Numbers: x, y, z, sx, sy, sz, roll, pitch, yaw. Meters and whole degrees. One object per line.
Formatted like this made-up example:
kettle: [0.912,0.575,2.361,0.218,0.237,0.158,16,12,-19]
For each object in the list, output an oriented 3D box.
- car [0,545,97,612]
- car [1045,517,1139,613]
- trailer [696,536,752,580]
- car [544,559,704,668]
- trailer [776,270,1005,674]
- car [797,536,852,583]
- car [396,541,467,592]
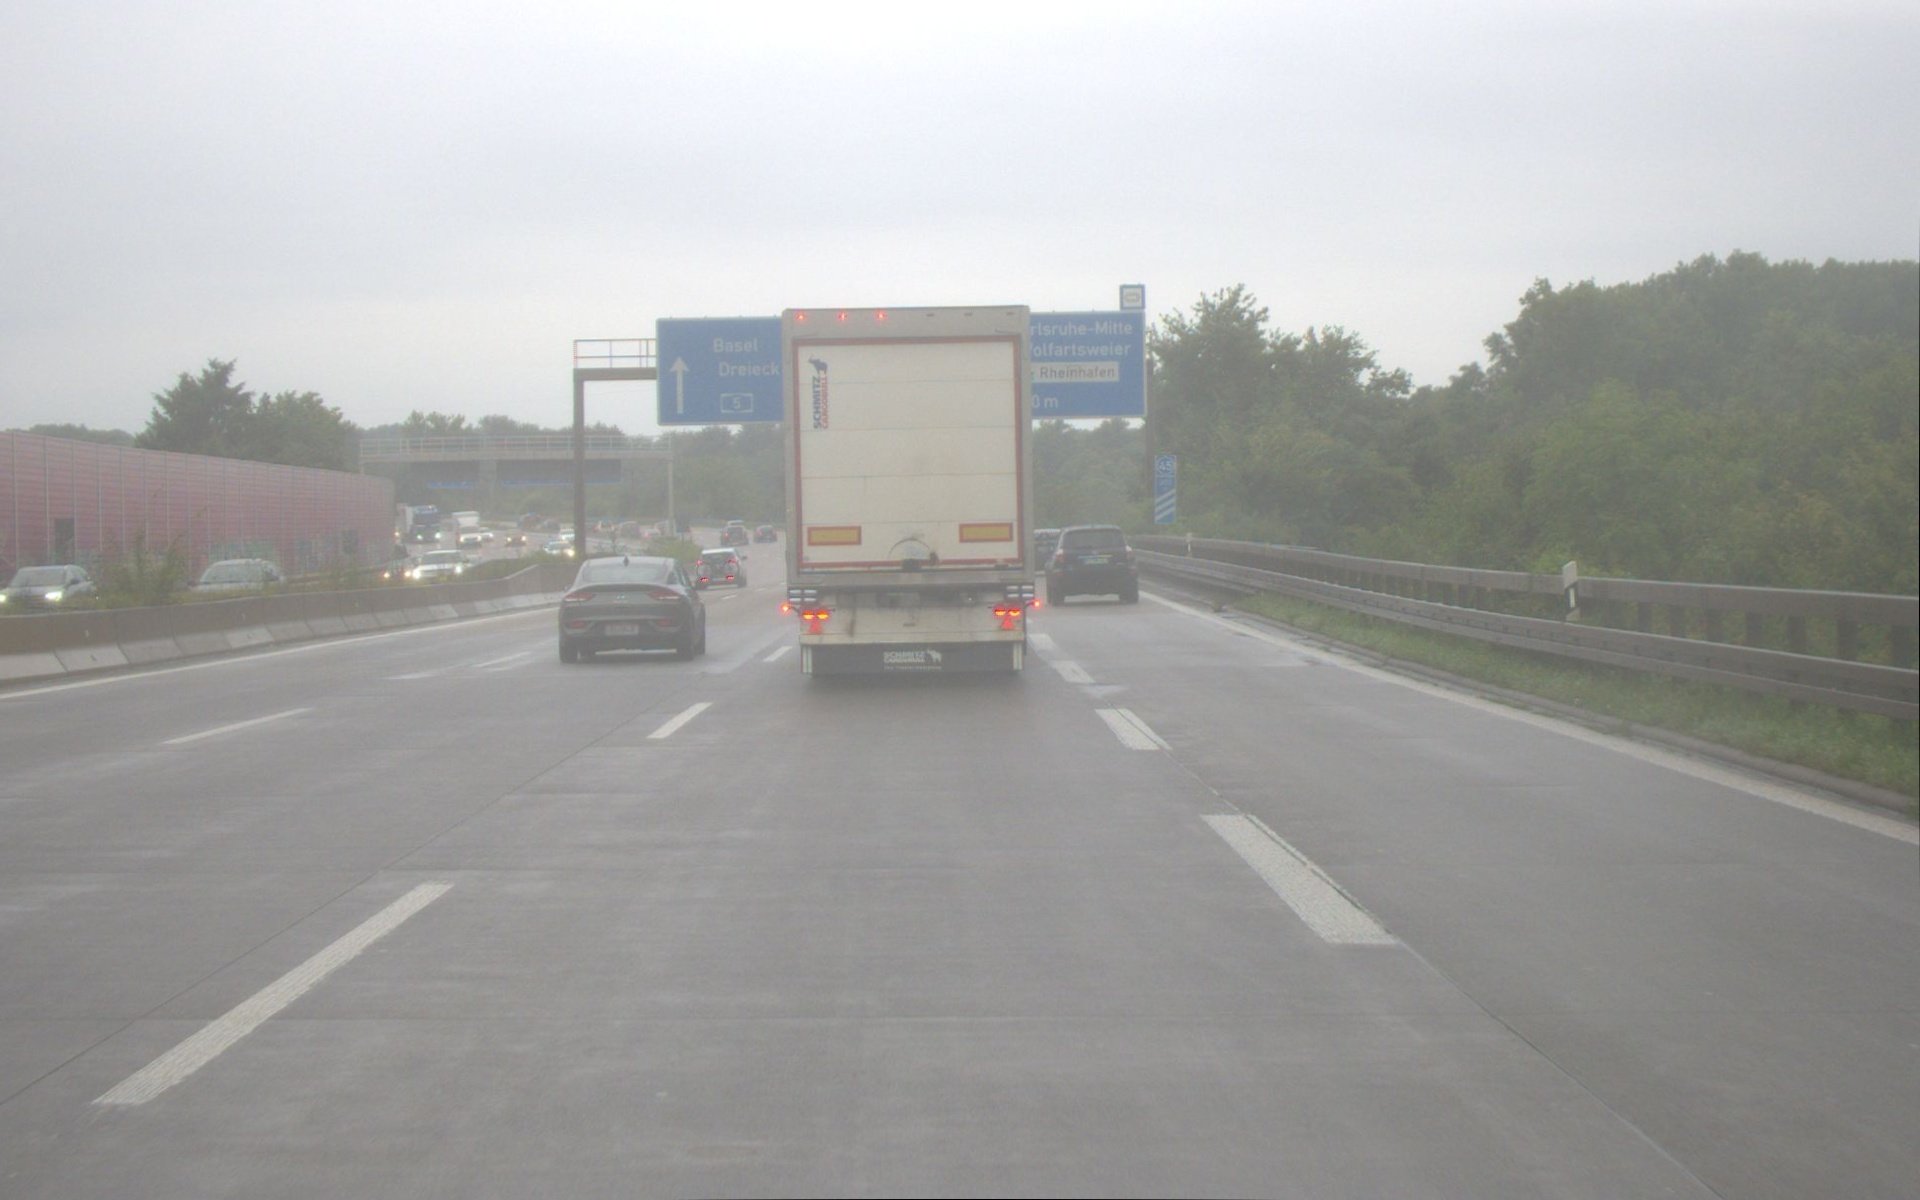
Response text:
car: [-24.046,-0.582,89.510,1.993,1.642,4.539,-2,1,0]
car: [2.793,-0.758,73.559,1.897,1.943,4.000,1,1,1]
trailer: [-9.055,-1.617,132.013,1.815,1.619,4.568,0,1,0]
car: [-4.587,0.154,47.489,1.725,1.398,4.829,1,1,0]
trailer: [-0.709,-1.551,42.744,2.342,4.143,14.828,0,2,0]
car: [-5.168,-1.568,131.603,1.894,1.717,4.000,1,1,0]
car: [-21.544,-1.389,140.319,1.993,2.007,5.807,1,1,-1]
